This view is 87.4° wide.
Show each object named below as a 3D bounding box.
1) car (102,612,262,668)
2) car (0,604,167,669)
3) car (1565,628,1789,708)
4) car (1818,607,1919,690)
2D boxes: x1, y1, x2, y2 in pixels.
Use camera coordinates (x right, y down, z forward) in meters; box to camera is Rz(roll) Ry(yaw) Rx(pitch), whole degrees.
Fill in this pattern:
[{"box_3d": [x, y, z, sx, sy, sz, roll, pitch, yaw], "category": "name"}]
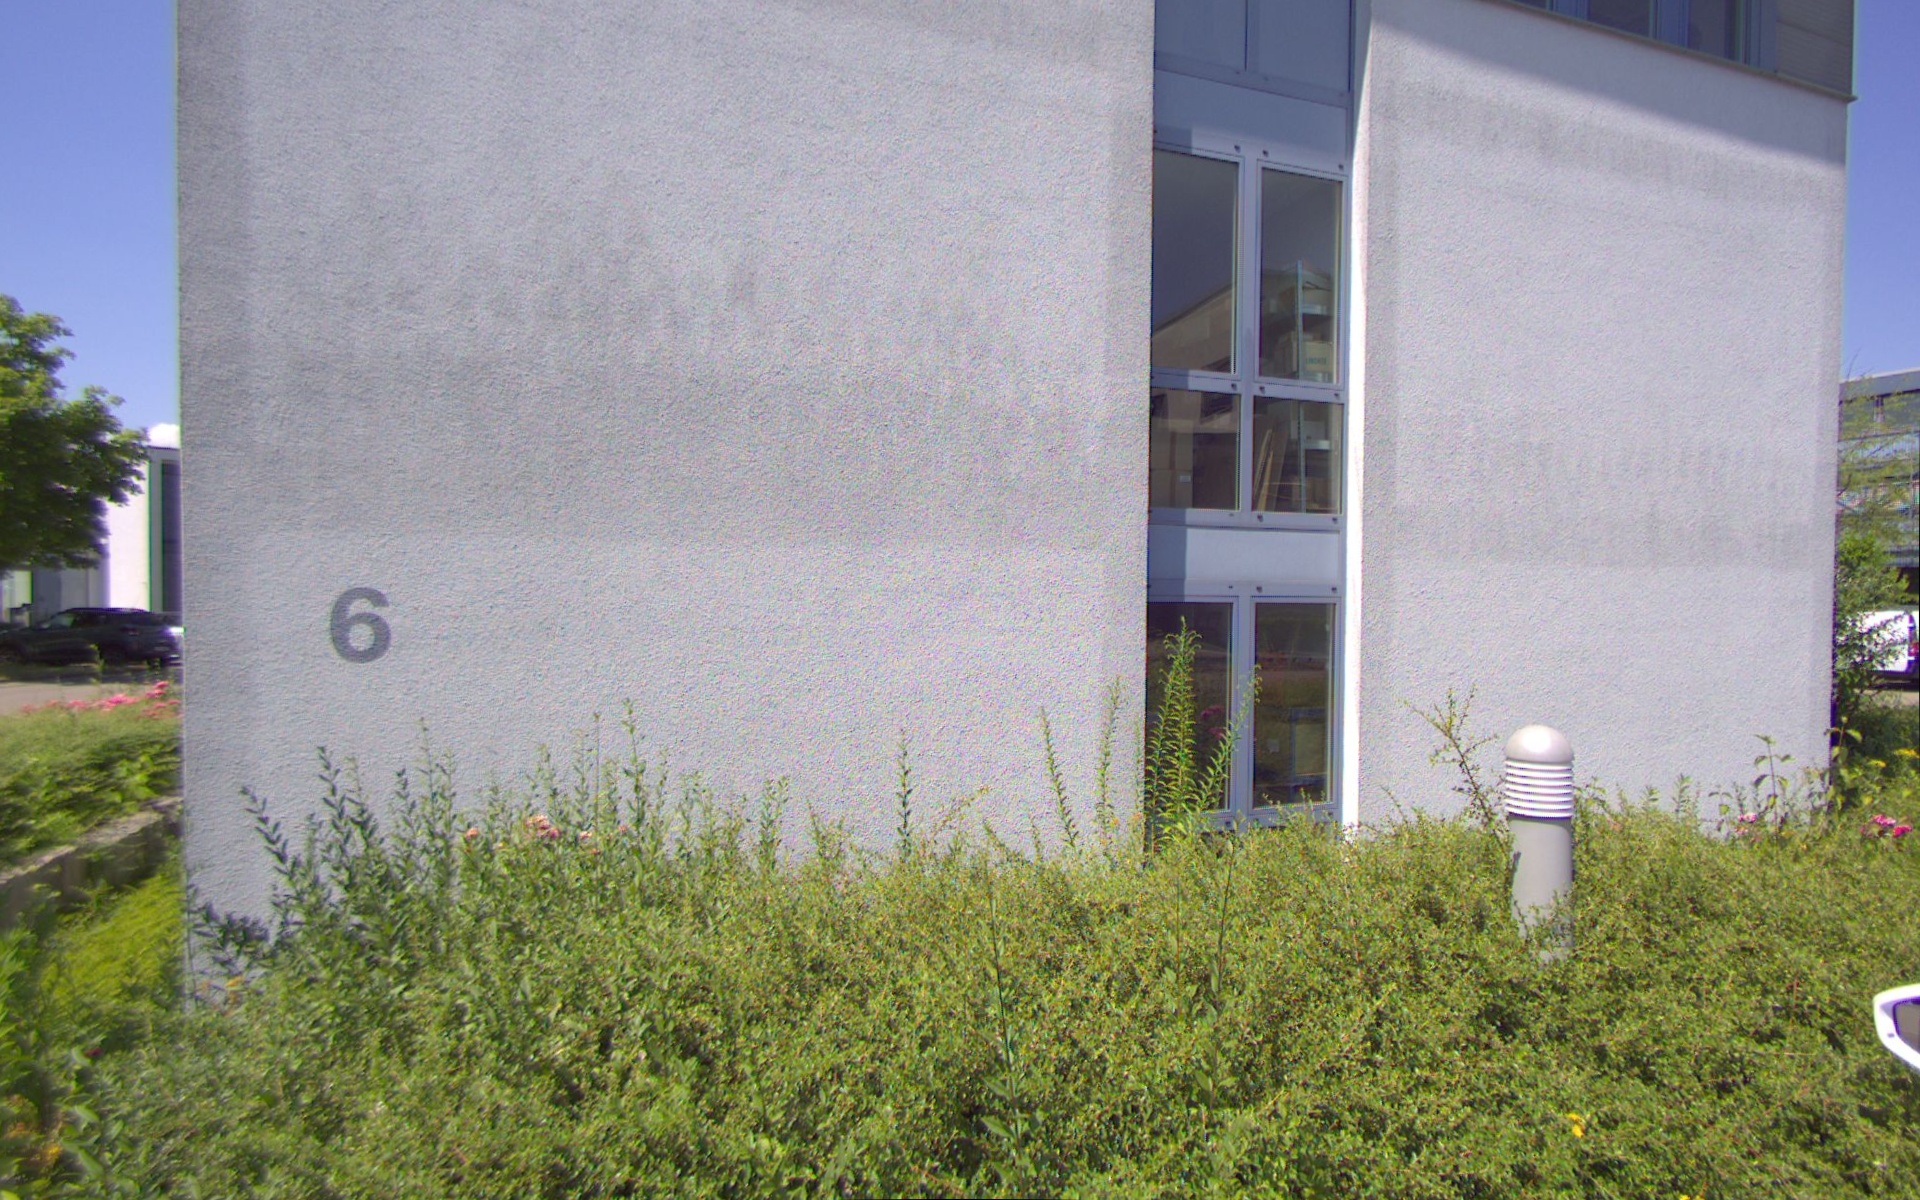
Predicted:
[{"box_3d": [-20.932, 1.064, 27.134, 3.030, 1.443, 1.549, 1, -1, -5], "category": "car"}, {"box_3d": [-21.622, 0.890, 24.656, 2.942, 1.443, 1.549, 2, -1, -4], "category": "car"}, {"box_3d": [15.052, 1.350, 21.083, 4.421, 1.492, 1.852, 1, 0, -24], "category": "car"}, {"box_3d": [24.029, 1.153, 25.170, 4.733, 1.916, 1.878, 0, 0, -22], "category": "car"}]
